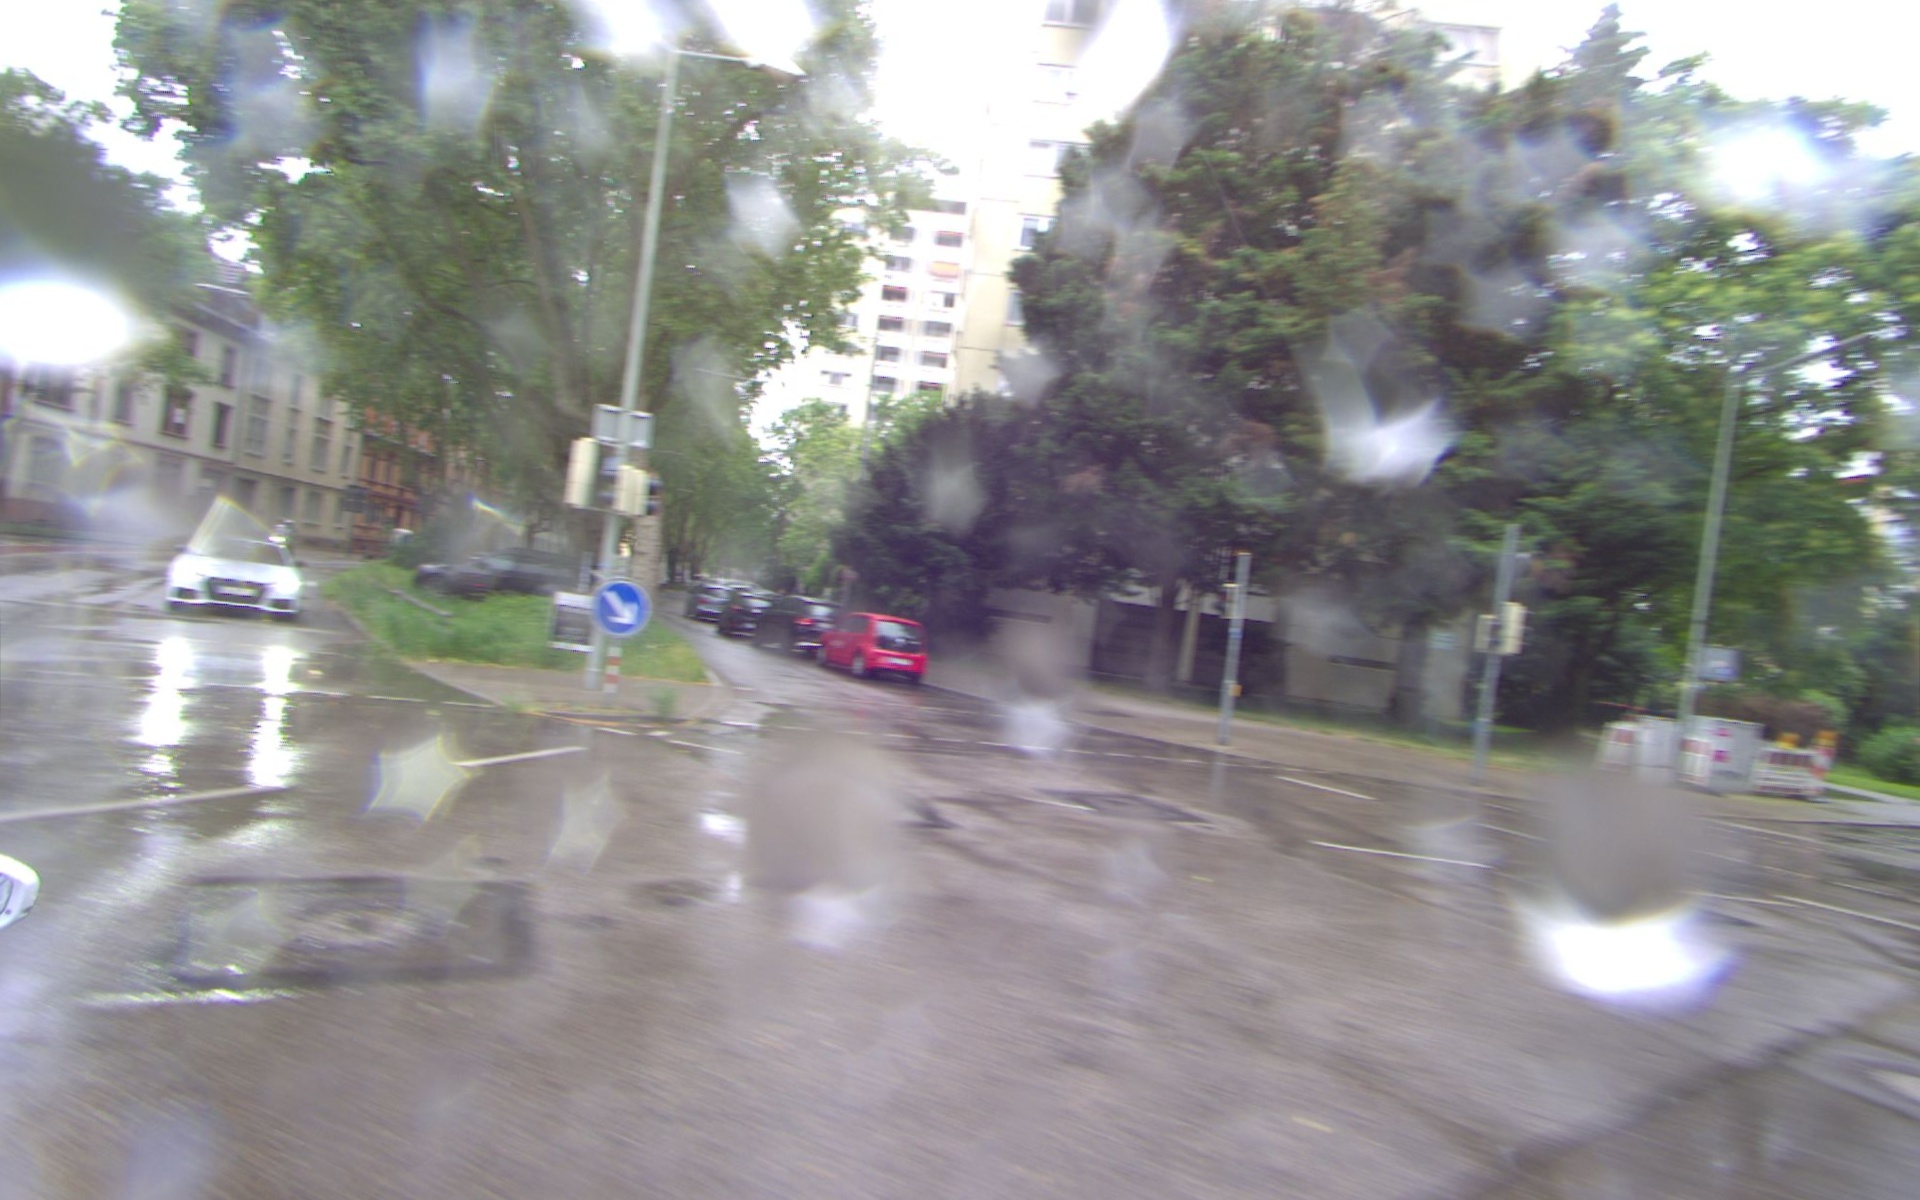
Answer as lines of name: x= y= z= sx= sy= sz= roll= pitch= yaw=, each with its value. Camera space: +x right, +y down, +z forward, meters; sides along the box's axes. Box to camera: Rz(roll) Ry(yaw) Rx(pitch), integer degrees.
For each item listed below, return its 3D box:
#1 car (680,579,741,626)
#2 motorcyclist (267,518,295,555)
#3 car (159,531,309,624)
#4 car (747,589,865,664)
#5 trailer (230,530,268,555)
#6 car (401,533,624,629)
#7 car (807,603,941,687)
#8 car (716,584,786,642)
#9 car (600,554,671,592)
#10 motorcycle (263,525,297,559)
car: x=-10.721 y=0.080 z=43.062 sx=1.906 sy=1.653 sz=3.981 roll=8 pitch=-1 yaw=-21
motorcyclist: x=-27.129 y=-2.533 z=40.201 sx=0.750 sy=1.367 sz=0.748 roll=7 pitch=0 yaw=-31
car: x=-13.059 y=-0.462 z=18.197 sx=1.887 sy=1.290 sz=4.132 roll=8 pitch=-1 yaw=-35
car: x=-4.447 y=0.697 z=28.435 sx=1.917 sy=1.627 sz=4.427 roll=8 pitch=-1 yaw=-26
trailer: x=-28.030 y=-2.266 z=39.683 sx=1.016 sy=0.852 sz=1.471 roll=8 pitch=-1 yaw=-30
car: x=-10.970 y=-0.429 z=24.916 sx=4.519 sy=1.684 sz=1.875 roll=8 pitch=0 yaw=-2
car: x=-2.118 y=1.021 z=23.995 sx=1.821 sy=1.543 sz=3.436 roll=8 pitch=-1 yaw=-28
car: x=-7.103 y=0.412 z=33.922 sx=1.813 sy=1.615 sz=3.473 roll=8 pitch=-1 yaw=-17
car: x=-29.090 y=-2.437 z=90.175 sx=5.862 sy=2.681 sz=2.000 roll=7 pitch=0 yaw=22
motorcycle: x=-27.171 y=-2.322 z=40.233 sx=0.872 sy=1.229 sz=2.058 roll=7 pitch=-1 yaw=-31
